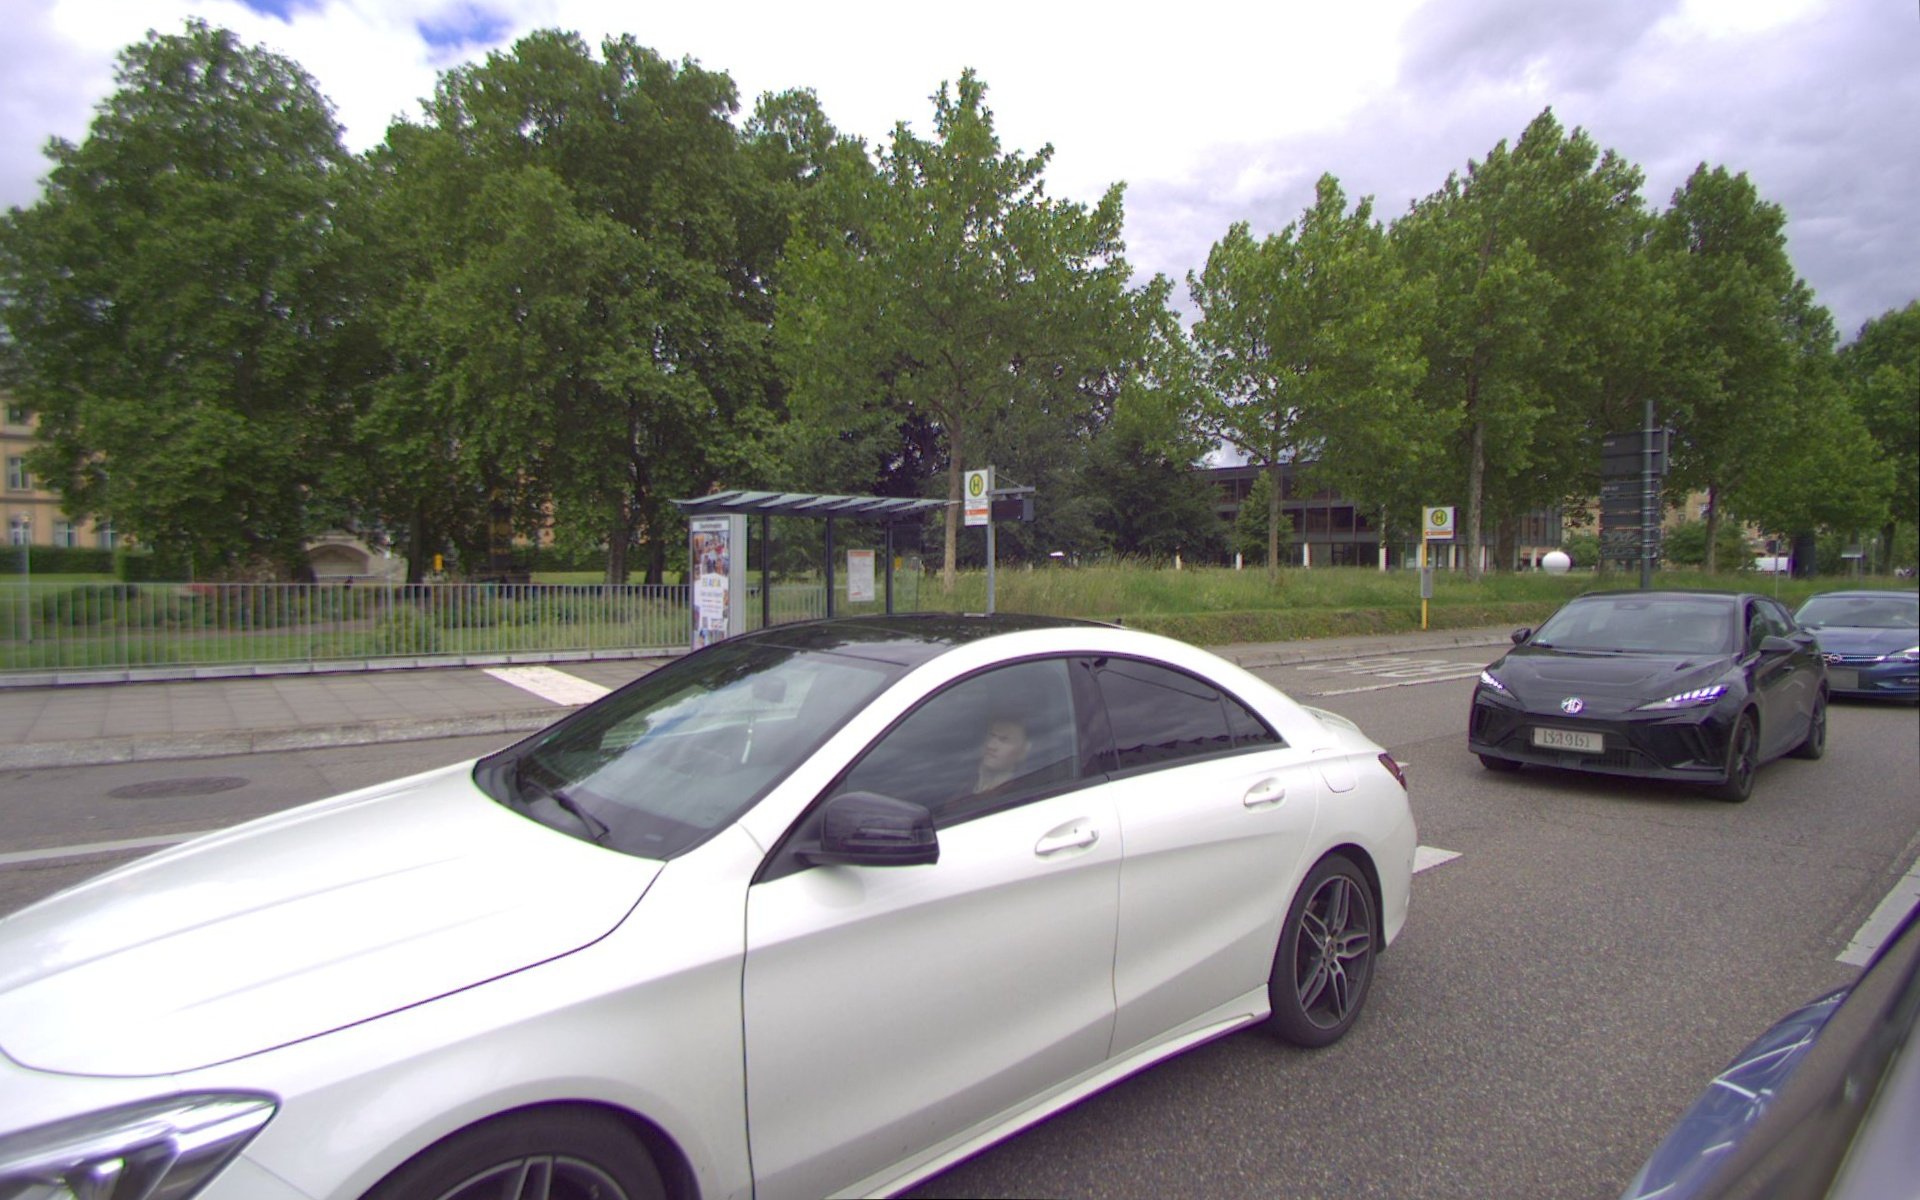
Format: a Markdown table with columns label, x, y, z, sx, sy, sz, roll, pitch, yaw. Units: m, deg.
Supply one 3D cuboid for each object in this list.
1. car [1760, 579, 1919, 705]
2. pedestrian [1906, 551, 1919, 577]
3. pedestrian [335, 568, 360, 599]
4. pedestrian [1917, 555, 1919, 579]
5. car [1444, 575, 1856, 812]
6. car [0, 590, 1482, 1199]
| label | x | y | z | sx | sy | sz | roll | pitch | yaw |
| --- | --- | --- | --- | --- | --- | --- | --- | --- | --- |
| car | 12.423 | 0.458 | 13.639 | 3.944 | 1.452 | 1.804 | -1 | 2 | -40 |
| pedestrian | 75.450 | -2.842 | 79.929 | 1.160 | 2.039 | 0.891 | -2 | 0 | -40 |
| pedestrian | -40.416 | -1.081 | 66.794 | 1.092 | 2.039 | 0.936 | -1 | 0 | 21 |
| pedestrian | 81.710 | -2.827 | 85.681 | 1.160 | 2.039 | 0.891 | -2 | 0 | -40 |
| car | 5.937 | 0.558 | 8.536 | 4.020 | 1.508 | 1.852 | -1 | 2 | -40 |
| car | -0.258 | 0.728 | 3.211 | 4.446 | 1.437 | 1.799 | -1 | 2 | -39 |
